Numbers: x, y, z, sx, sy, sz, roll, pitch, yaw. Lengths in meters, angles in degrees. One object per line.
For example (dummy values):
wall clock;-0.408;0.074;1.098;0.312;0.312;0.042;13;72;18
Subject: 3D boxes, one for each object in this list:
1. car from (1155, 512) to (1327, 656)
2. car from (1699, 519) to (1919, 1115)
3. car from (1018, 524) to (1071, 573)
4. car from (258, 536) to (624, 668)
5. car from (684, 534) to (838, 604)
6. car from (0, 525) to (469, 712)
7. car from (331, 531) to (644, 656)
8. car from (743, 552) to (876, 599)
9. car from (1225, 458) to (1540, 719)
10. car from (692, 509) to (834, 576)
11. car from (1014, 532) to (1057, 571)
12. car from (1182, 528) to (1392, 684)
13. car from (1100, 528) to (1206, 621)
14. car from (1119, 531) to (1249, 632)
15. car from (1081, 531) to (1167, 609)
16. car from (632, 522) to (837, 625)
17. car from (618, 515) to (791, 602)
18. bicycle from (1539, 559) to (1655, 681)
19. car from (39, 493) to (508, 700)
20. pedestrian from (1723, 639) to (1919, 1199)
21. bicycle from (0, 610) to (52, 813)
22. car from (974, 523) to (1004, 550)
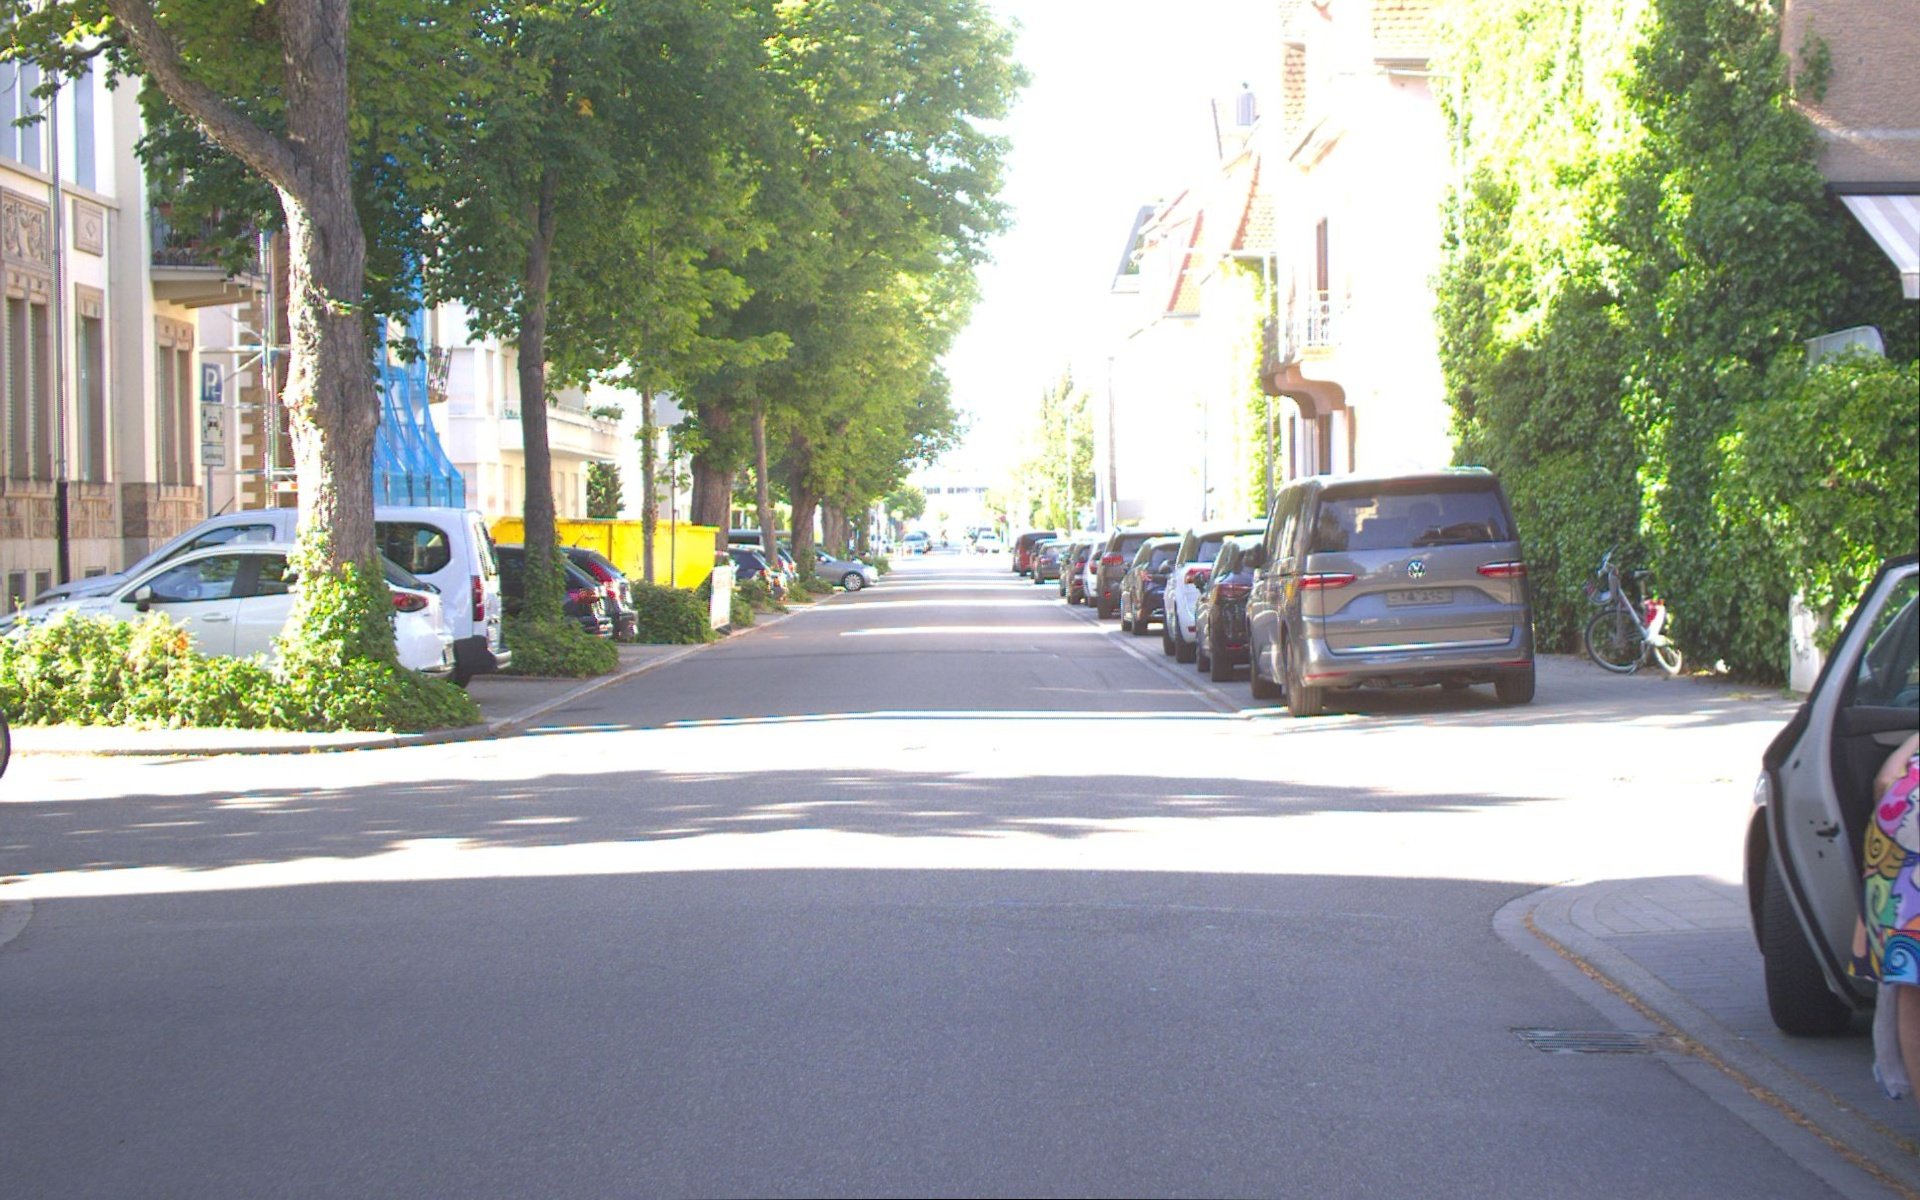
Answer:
car;3.282;-0.222;40.744;1.789;1.612;3.866;-1;1;1
car;3.320;0.537;8.976;1.699;1.534;4.156;-3;1;-2
car;2.881;-1.777;117.556;1.771;1.625;3.866;-1;1;1
car;-6.100;0.007;40.691;3.987;1.464;1.864;0;2;2
car;-5.408;-0.859;93.774;4.006;1.729;1.894;2;2;2
car;-6.306;0.149;29.451;3.986;1.459;1.798;1;0;-3
car;-6.230;-0.108;45.444;3.986;1.546;1.838;-1;1;-8
car;-4.732;-0.776;108.471;3.988;1.404;1.701;0;1;6
car;3.376;-0.137;28.343;1.904;1.864;4.674;-3;1;0
car;-5.885;-1.734;102.955;4.006;1.834;2.000;2;2;2
car;3.214;-2.079;146.001;1.771;1.625;3.866;-1;1;1
car;3.275;0.019;35.038;1.690;1.394;3.806;-3;1;0
car;3.507;-0.489;63.028;1.771;1.625;3.866;-1;1;1
car;3.362;-0.310;52.129;1.771;1.450;3.866;-1;1;1
car;3.578;-0.684;75.446;1.771;1.625;3.866;-1;1;1
car;-4.587;-0.531;69.648;3.986;2.007;2.000;-1;0;-8
car;-6.145;-1.001;82.408;3.986;2.007;2.001;-1;1;-8
bicycle;5.682;0.159;30.768;0.588;1.020;2.370;-1;1;0
car;-6.255;-0.040;31.666;3.986;1.755;1.798;1;0;-3
pedestrian;2.271;0.731;8.100;0.723;1.253;0.646;-2;1;-7
bicycle;-6.134;0.635;18.966;1.991;1.062;0.760;-2;2;4
car;1.829;-4.005;216.136;1.771;1.625;3.866;-1;1;1
